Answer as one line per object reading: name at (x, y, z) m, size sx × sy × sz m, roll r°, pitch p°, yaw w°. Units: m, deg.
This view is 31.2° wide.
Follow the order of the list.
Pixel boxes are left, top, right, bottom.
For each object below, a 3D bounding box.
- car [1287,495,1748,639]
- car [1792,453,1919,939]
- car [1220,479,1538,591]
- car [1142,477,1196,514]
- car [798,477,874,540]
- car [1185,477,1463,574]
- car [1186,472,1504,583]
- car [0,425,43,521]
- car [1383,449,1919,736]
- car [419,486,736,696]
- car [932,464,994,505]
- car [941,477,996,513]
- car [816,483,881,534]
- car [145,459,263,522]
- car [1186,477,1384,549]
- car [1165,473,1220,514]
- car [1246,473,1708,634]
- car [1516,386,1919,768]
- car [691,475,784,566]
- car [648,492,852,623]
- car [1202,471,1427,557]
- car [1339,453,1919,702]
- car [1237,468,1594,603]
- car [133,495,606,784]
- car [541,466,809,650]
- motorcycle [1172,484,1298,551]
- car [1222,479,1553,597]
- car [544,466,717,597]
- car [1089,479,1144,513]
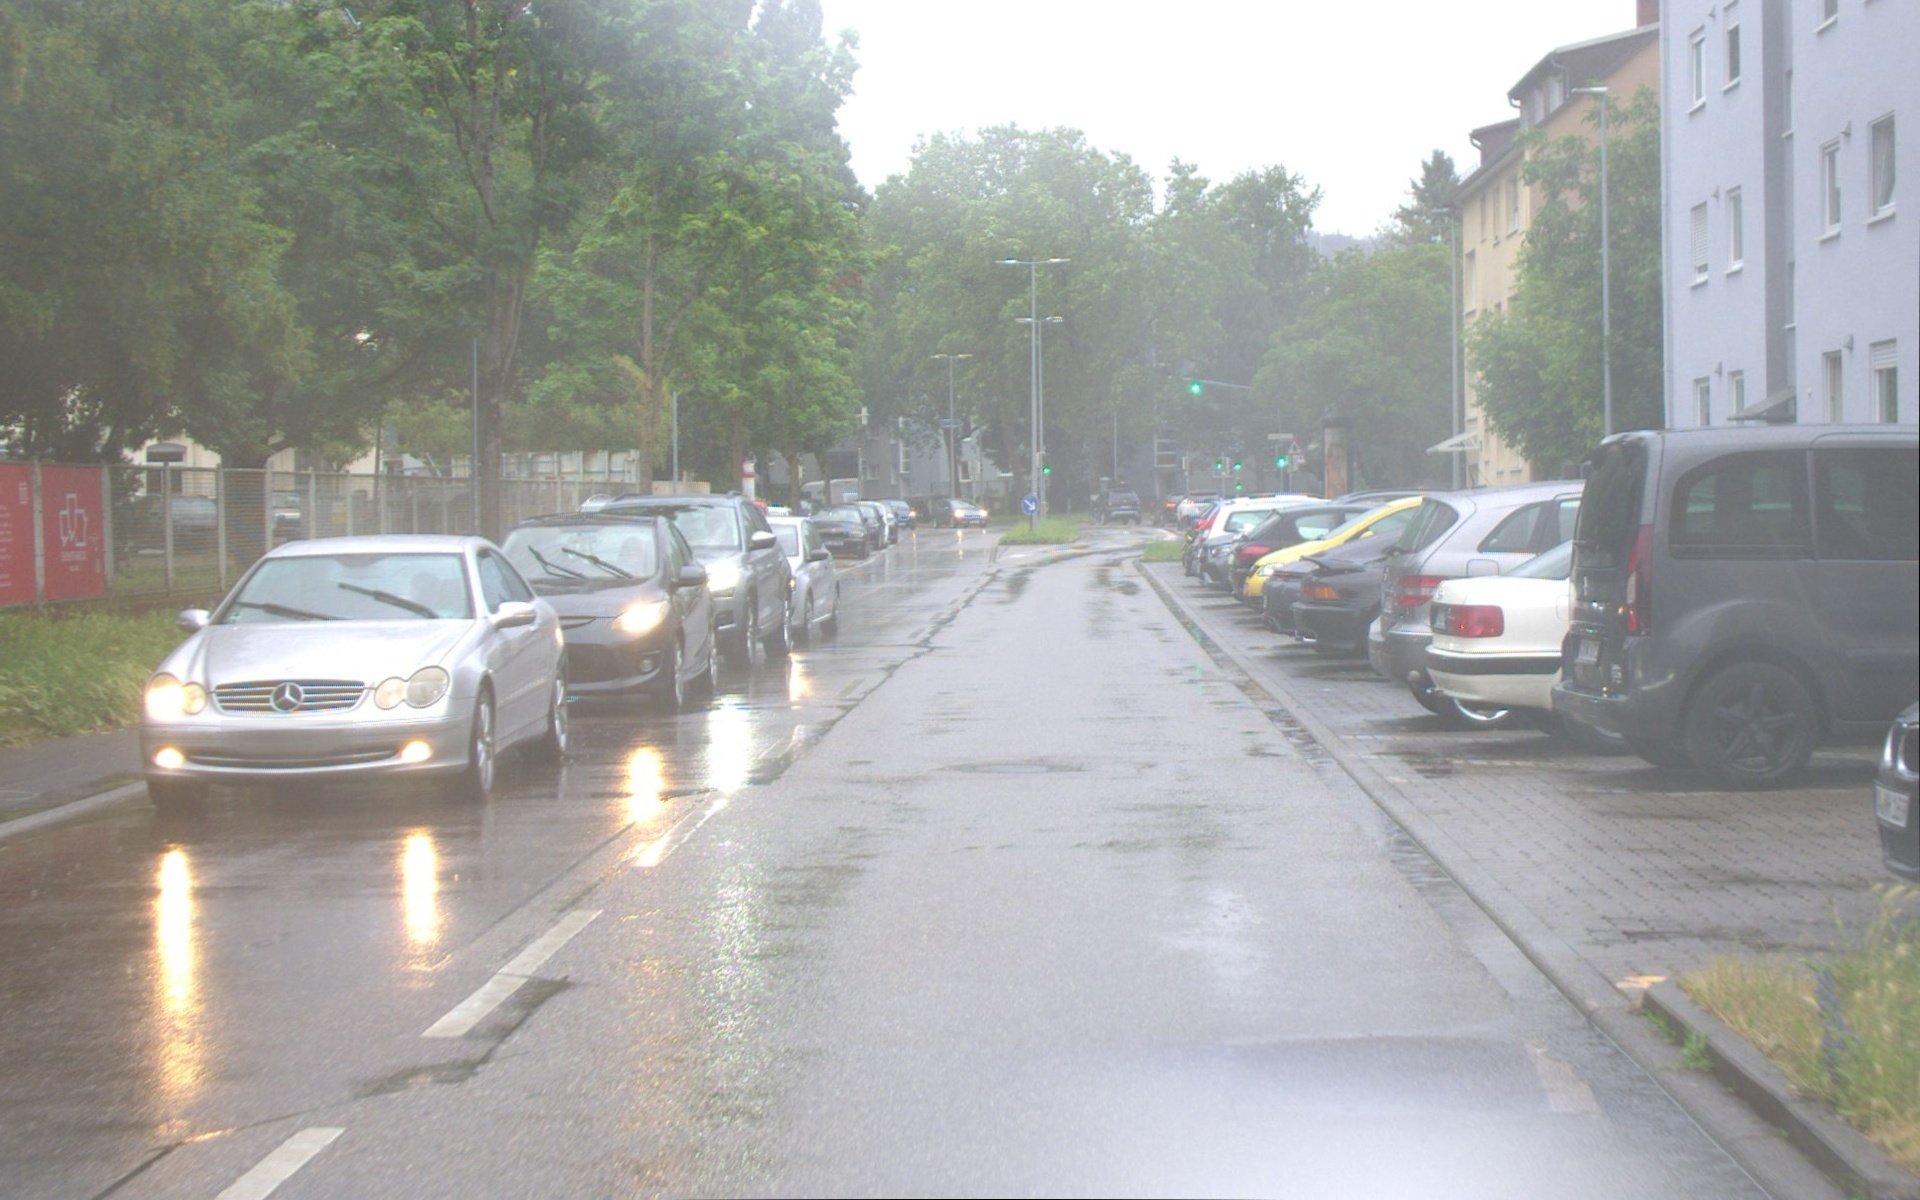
car at (4.850, -0.310, 30.358) m, size 3.854 × 1.203 × 1.956 m, roll 0°, pitch 2°, yaw 4°
car at (5.178, 0.230, 11.068) m, size 4.533 × 1.465 × 1.983 m, roll -1°, pitch 1°, yaw 2°
car at (5.551, -0.881, 45.982) m, size 4.098 × 1.453 × 2.000 m, roll 0°, pitch 2°, yaw 4°
car at (8.795, -4.411, 144.875) m, size 1.849 × 1.519 × 4.154 m, roll -1°, pitch 2°, yaw -2°
car at (-3.284, -2.438, 90.626) m, size 1.775 × 1.524 × 4.001 m, roll 0°, pitch 3°, yaw -5°
car at (5.737, -1.194, 54.076) m, size 4.270 × 1.449 × 1.984 m, roll 0°, pitch 3°, yaw 8°
car at (5.454, -1.046, 49.122) m, size 4.341 × 1.546 × 2.040 m, roll 0°, pitch 2°, yaw 2°
car at (-22.298, -2.864, 77.854) m, size 1.993 × 2.114 × 4.000 m, roll -1°, pitch 2°, yaw -30°
car at (4.686, -0.075, 20.087) m, size 4.189 × 1.563 × 1.889 m, roll -1°, pitch 2°, yaw 0°
car at (-2.825, -0.132, 26.287) m, size 1.779 × 1.415 × 4.265 m, roll -1°, pitch 2°, yaw 2°
car at (0.128, -5.795, 172.544) m, size 1.993 × 2.006 × 4.002 m, roll -1°, pitch 2°, yaw -17°
car at (0.403, -5.026, 164.545) m, size 1.740 × 1.683 × 4.001 m, roll 0°, pitch 2°, yaw -13°
car at (-3.394, -2.824, 105.440) m, size 1.929 × 1.479 × 4.001 m, roll -1°, pitch 2°, yaw -1°
car at (-17.694, -2.561, 80.383) m, size 1.705 × 1.429 × 3.650 m, roll -1°, pitch 2°, yaw -29°
car at (6.696, -1.813, 71.259) m, size 3.987 × 1.456 × 1.934 m, roll 0°, pitch 2°, yaw 3°
car at (8.837, -4.044, 130.824) m, size 1.849 × 1.519 × 4.000 m, roll -1°, pitch 2°, yaw 0°
car at (4.874, -0.460, 32.897) m, size 4.144 × 1.481 × 2.013 m, roll 0°, pitch 2°, yaw 2°
car at (5.136, -0.170, 17.512) m, size 4.231 × 1.799 × 1.945 m, roll -1°, pitch 2°, yaw -1°
car at (-4.036, -1.458, 62.305) m, size 1.624 × 1.592 × 4.202 m, roll 0°, pitch 2°, yaw -4°
car at (-2.328, -0.523, 39.157) m, size 1.673 × 1.378 × 4.251 m, roll 0°, pitch 2°, yaw 5°
car at (6.560, -1.605, 63.925) m, size 3.987 × 1.546 × 1.905 m, roll 0°, pitch 2°, yaw 0°
car at (4.692, -0.168, 22.700) m, size 4.181 × 1.566 × 1.890 m, roll 0°, pitch 2°, yaw 1°
car at (5.353, -0.778, 40.770) m, size 3.987 × 1.546 × 1.853 m, roll 0°, pitch 2°, yaw 1°
car at (-3.120, 0.124, 19.129) m, size 1.775 × 1.398 × 4.830 m, roll 0°, pitch 2°, yaw 0°
car at (-2.655, -0.444, 33.124) m, size 1.914 × 1.634 × 4.821 m, roll 0°, pitch 2°, yaw 3°
motorcycle at (5.469, -1.644, 68.432) m, size 2.398 × 1.319 × 0.920 m, roll 0°, pitch 1°, yaw -2°
car at (5.345, -0.789, 43.383) m, size 3.987 × 1.437 × 1.782 m, roll 0°, pitch 2°, yaw 2°
car at (-4.543, -1.003, 48.038) m, size 1.776 × 1.674 × 4.601 m, roll 2°, pitch 2°, yaw 2°
car at (7.206, -4.795, 158.690) m, size 1.849 × 1.519 × 4.001 m, roll -1°, pitch 2°, yaw -7°
